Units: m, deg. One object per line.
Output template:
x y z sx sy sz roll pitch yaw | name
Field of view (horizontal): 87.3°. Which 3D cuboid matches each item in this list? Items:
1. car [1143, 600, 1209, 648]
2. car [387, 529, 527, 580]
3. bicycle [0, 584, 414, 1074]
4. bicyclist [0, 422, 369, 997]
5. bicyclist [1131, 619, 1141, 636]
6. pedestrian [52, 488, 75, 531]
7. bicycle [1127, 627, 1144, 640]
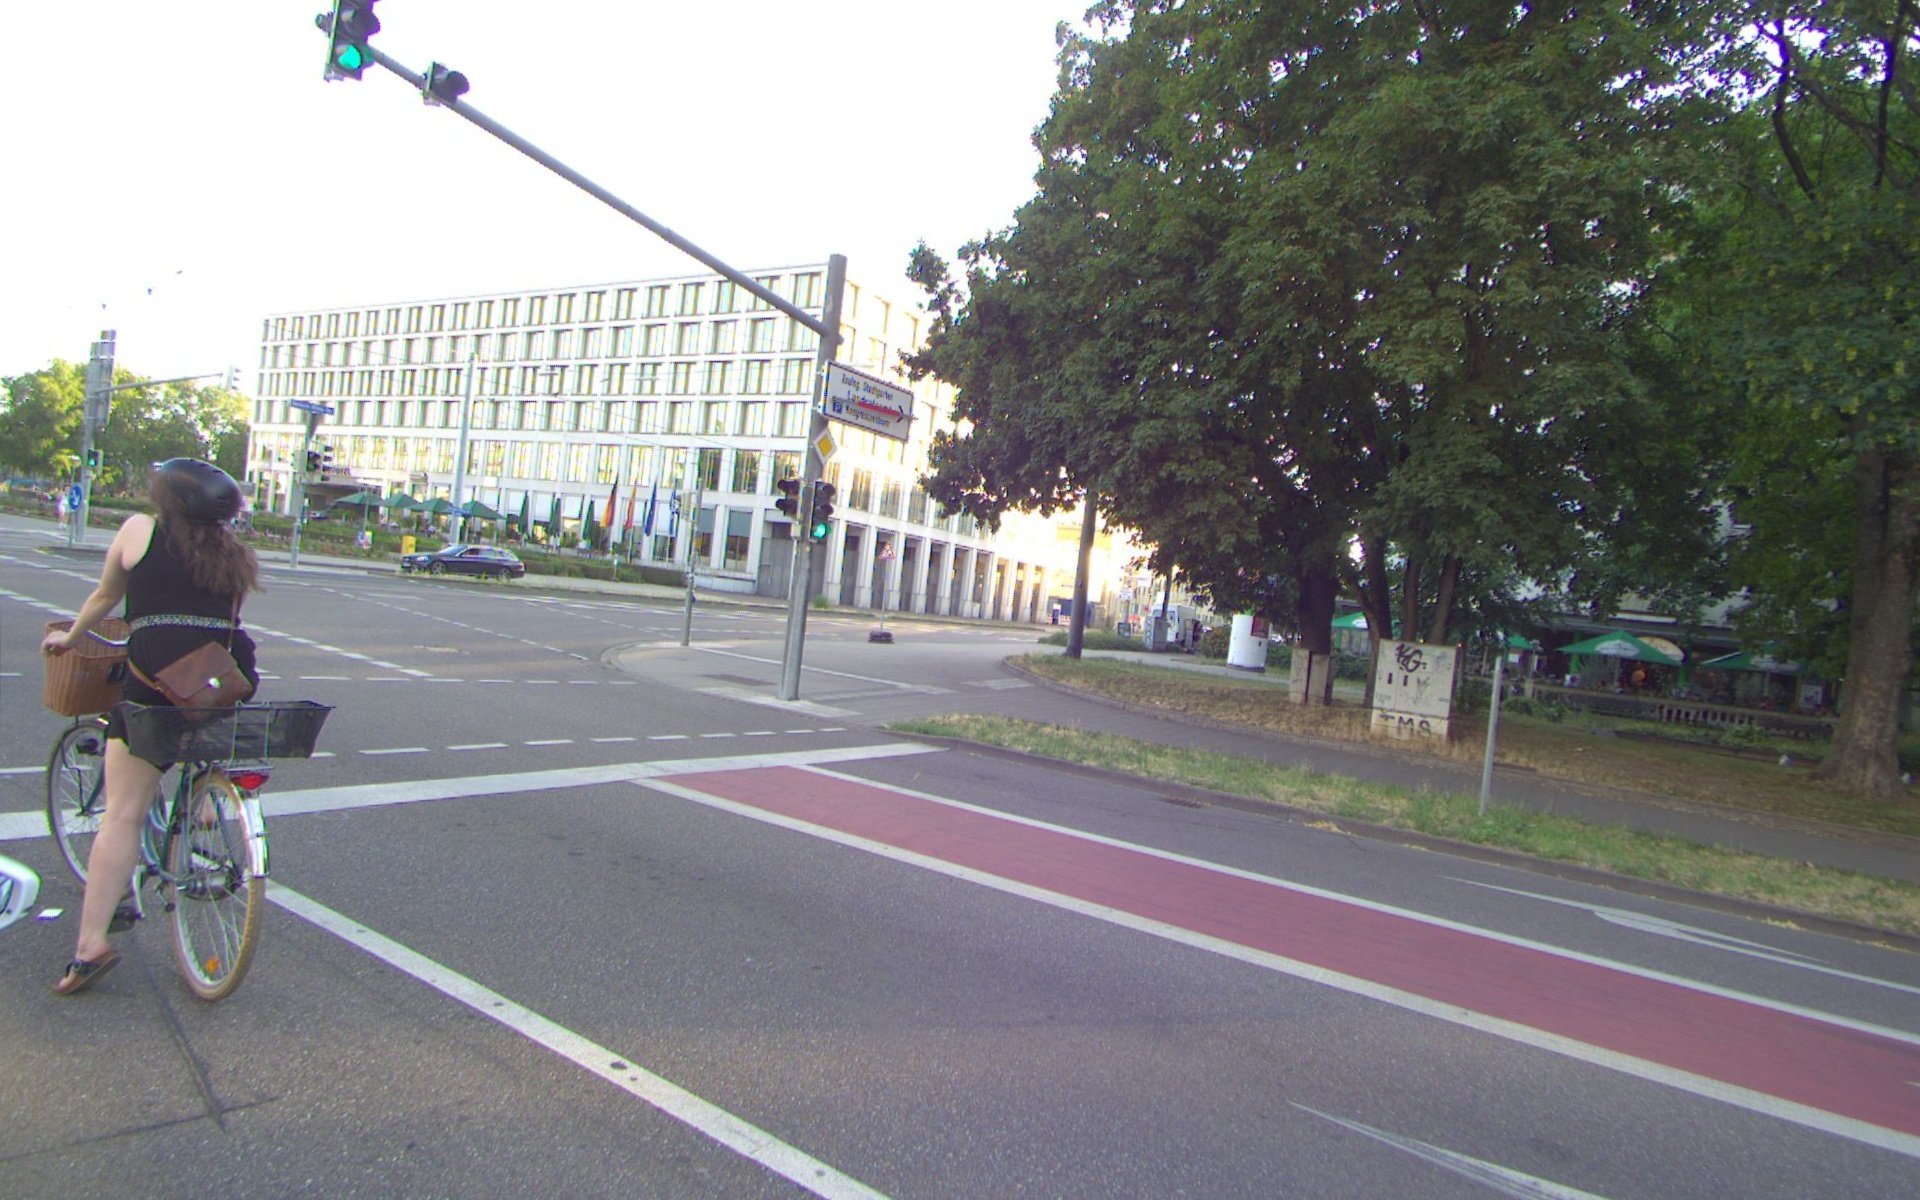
11.983 1.362 55.624 1.967 2.318 4.605 6 0 31 | car
-21.040 -1.865 42.277 1.968 1.534 4.826 7 0 34 | car
-2.795 0.623 3.458 1.971 1.146 0.612 7 -1 32 | bicycle
-2.669 0.296 3.403 0.982 1.655 0.600 7 0 32 | bicyclist
16.747 2.584 95.689 0.567 1.556 0.708 7 1 29 | bicyclist
-34.230 -3.436 38.409 0.402 1.559 0.491 7 2 31 | pedestrian
16.703 3.224 95.735 0.592 1.120 2.775 7 0 29 | bicycle
